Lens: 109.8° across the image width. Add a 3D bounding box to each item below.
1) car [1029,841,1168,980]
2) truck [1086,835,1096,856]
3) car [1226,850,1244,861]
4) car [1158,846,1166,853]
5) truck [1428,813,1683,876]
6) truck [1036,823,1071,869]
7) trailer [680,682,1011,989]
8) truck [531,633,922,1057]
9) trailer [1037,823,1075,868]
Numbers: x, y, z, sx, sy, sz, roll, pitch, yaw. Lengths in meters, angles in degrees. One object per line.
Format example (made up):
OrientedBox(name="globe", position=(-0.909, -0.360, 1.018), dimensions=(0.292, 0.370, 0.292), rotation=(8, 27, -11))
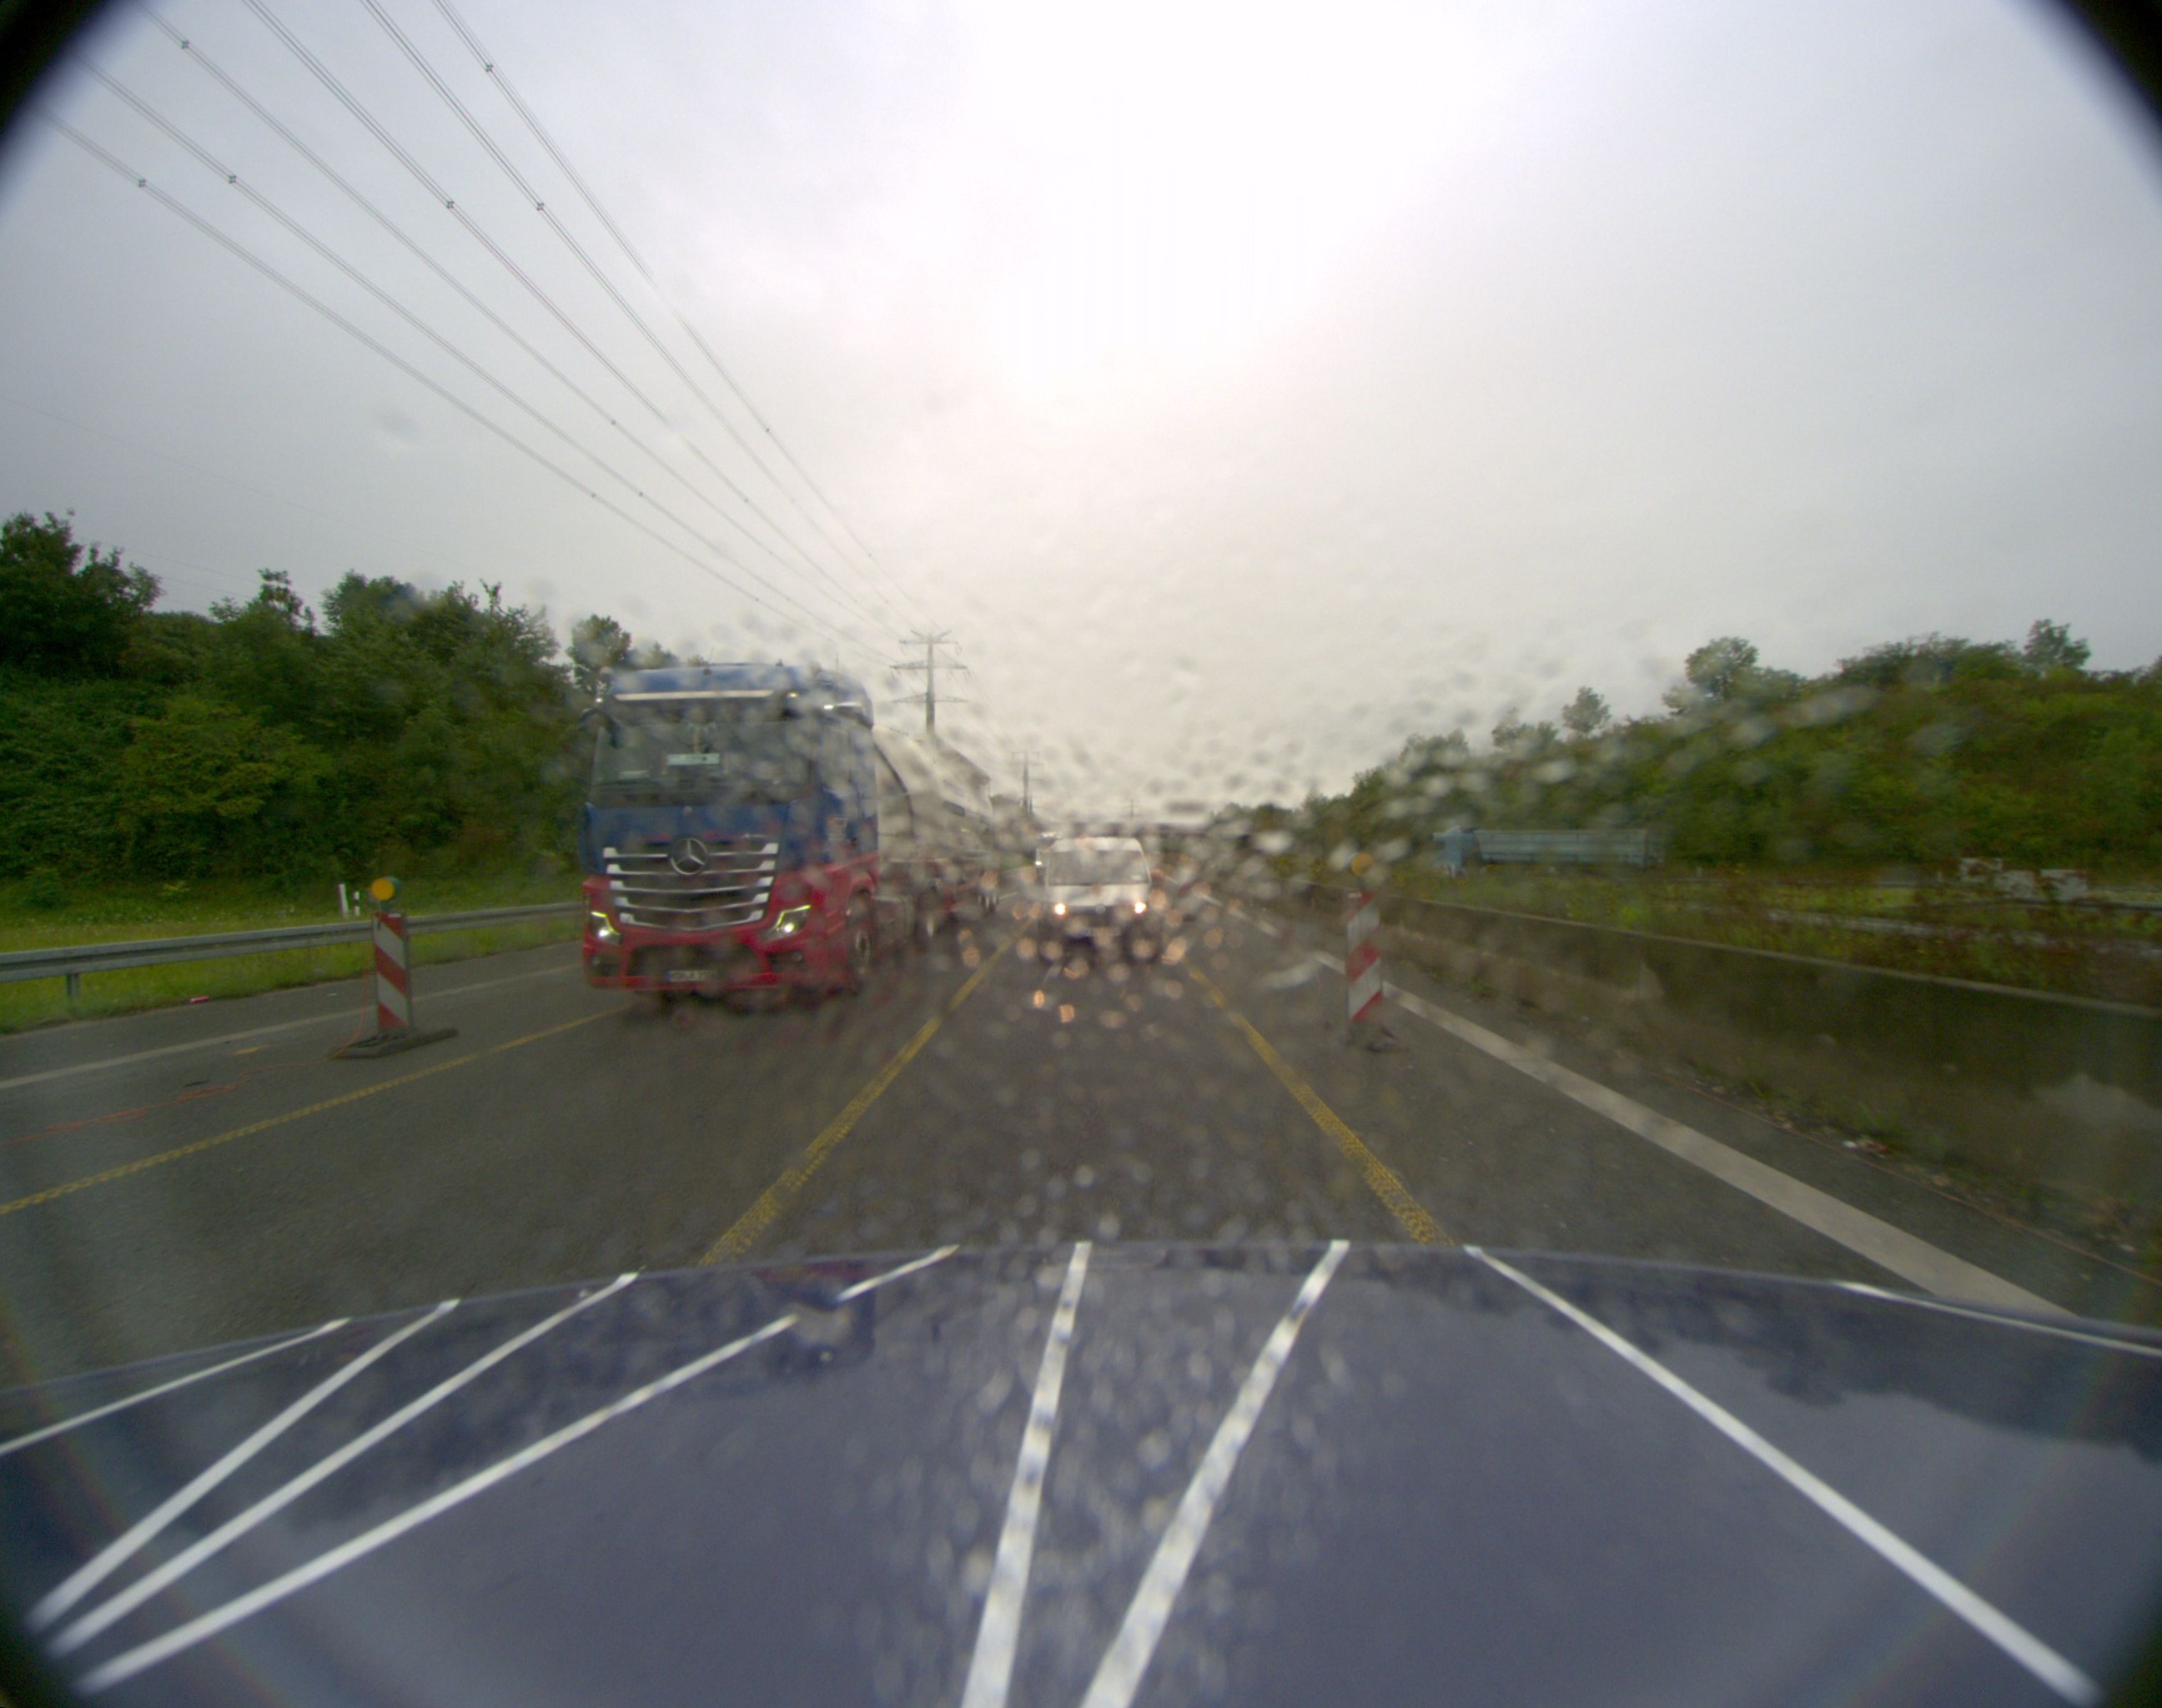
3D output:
OrientedBox(name="car", position=(0.237, 0.742, 12.384), dimensions=(1.770, 1.774, 4.647), rotation=(-2, 0, 0))
OrientedBox(name="truck", position=(2.585, -2.223, 196.650), dimensions=(2.276, 3.693, 6.635), rotation=(-2, 18, 2))
OrientedBox(name="car", position=(24.529, 0.239, 121.224), dimensions=(1.998, 1.779, 4.229), rotation=(0, 0, 0))
OrientedBox(name="car", position=(27.878, -1.553, 261.509), dimensions=(2.245, 2.426, 5.884), rotation=(0, 0, 3))
OrientedBox(name="truck", position=(30.598, -0.538, 50.467), dimensions=(2.906, 3.598, 14.543), rotation=(0, 0, -31))
OrientedBox(name="truck", position=(-2.455, -0.752, 69.647), dimensions=(2.748, 3.912, 5.397), rotation=(-2, 1, 1))
OrientedBox(name="trailer", position=(-3.554, -0.332, 15.820), dimensions=(2.525, 3.812, 12.350), rotation=(-2, 1, 2))
OrientedBox(name="truck", position=(-3.773, -0.092, 9.193), dimensions=(2.553, 3.924, 4.000), rotation=(-2, 1, 2))
OrientedBox(name="trailer", position=(-2.311, -0.883, 75.624), dimensions=(2.808, 3.980, 14.147), rotation=(-2, 1, 1))
